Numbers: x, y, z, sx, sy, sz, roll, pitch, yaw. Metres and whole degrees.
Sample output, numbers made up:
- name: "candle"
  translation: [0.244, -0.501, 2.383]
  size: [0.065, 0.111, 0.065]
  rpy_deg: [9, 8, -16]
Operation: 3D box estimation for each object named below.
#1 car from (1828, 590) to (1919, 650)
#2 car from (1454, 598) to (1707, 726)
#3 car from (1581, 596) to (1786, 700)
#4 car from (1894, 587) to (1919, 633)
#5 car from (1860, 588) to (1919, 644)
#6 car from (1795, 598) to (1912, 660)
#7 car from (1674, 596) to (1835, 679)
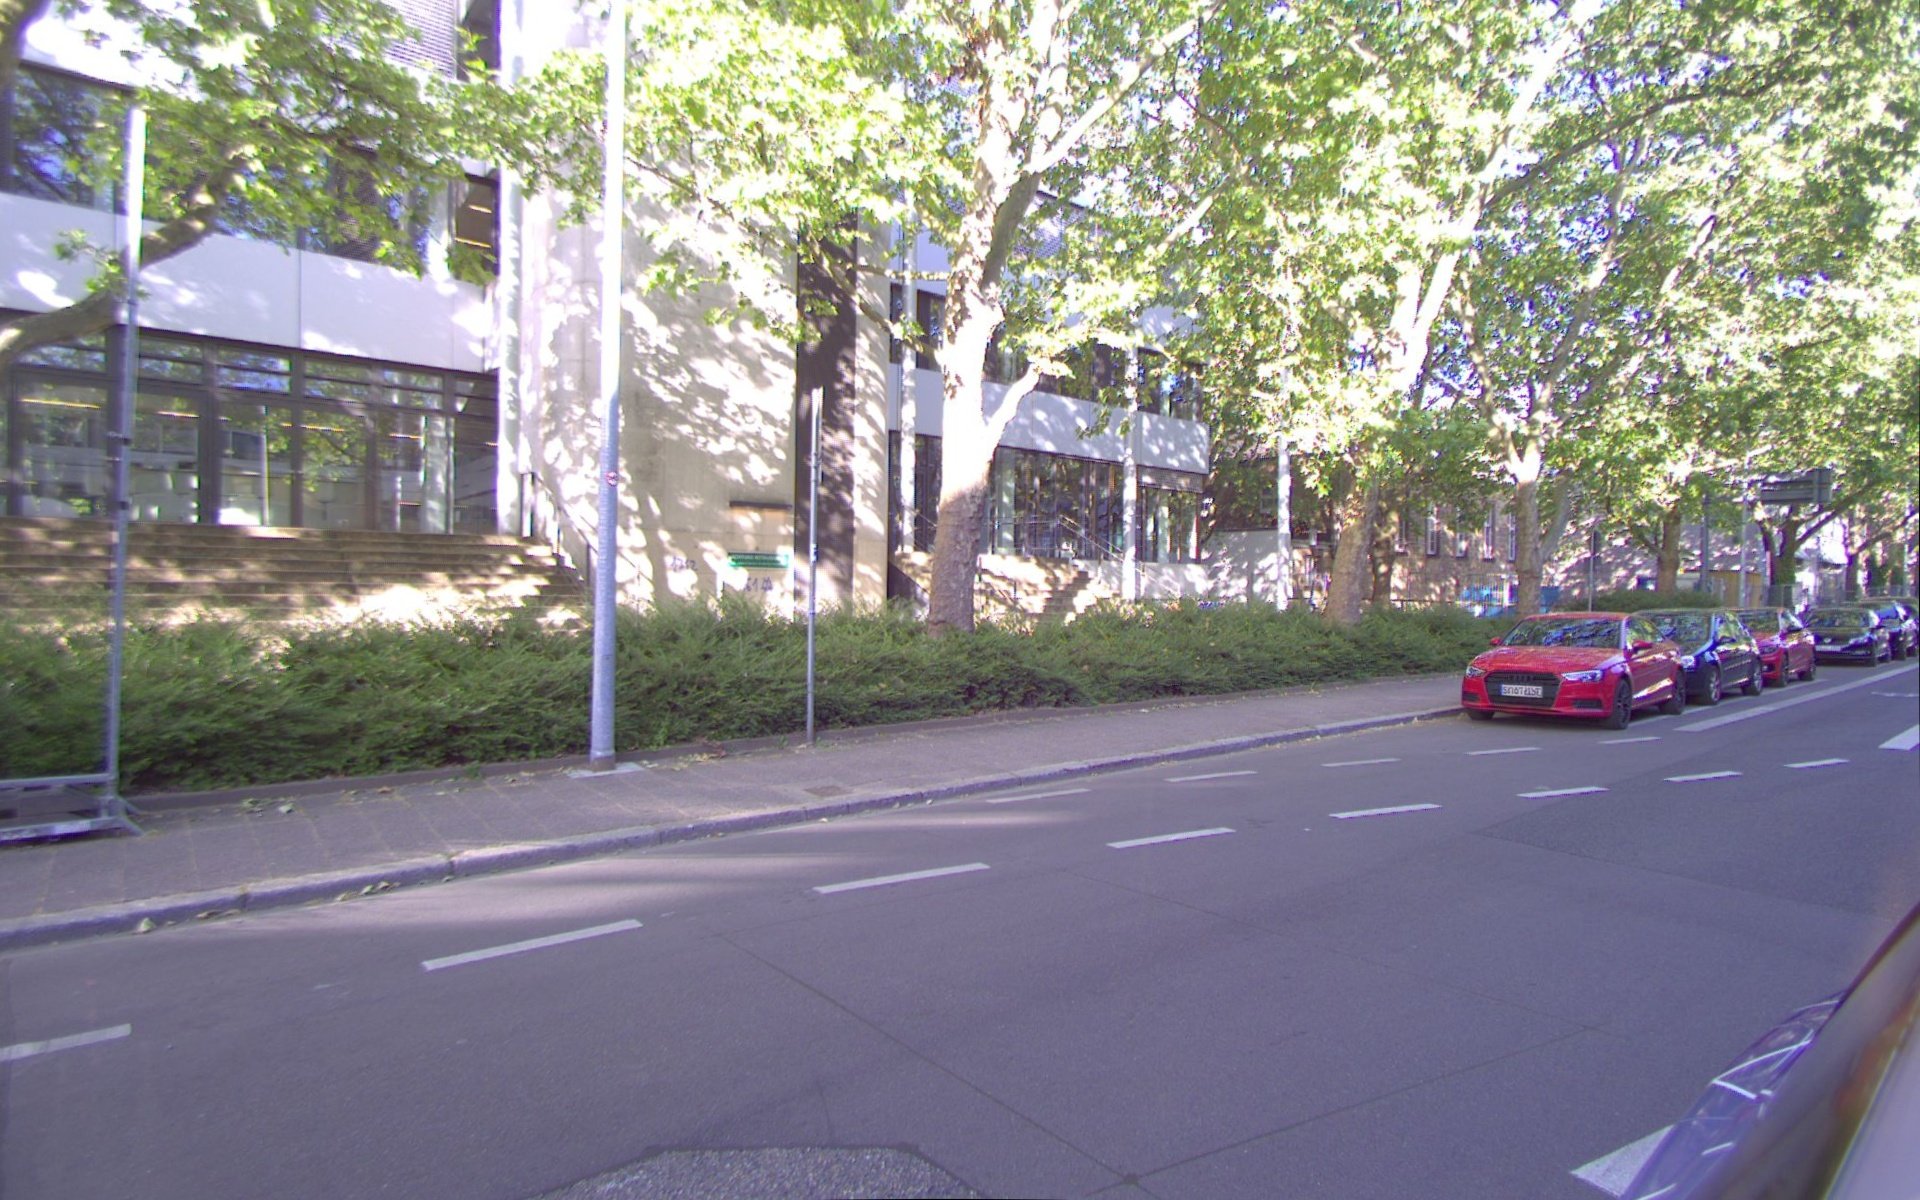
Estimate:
- name: "car"
  translation: [26.640, 0.523, 29.194]
  size: [4.158, 1.601, 1.847]
  rpy_deg: [0, 1, -41]
- name: "car"
  translation: [8.348, 0.700, 13.468]
  size: [4.101, 1.443, 1.773]
  rpy_deg: [0, -1, -42]
- name: "car"
  translation: [11.896, 0.692, 16.562]
  size: [3.929, 1.475, 1.812]
  rpy_deg: [0, 1, -40]
- name: "car"
  translation: [35.733, 0.361, 37.077]
  size: [4.004, 1.638, 1.797]
  rpy_deg: [0, 1, -41]
- name: "car"
  translation: [31.074, 0.480, 33.055]
  size: [4.188, 1.747, 1.997]
  rpy_deg: [-1, 0, -41]
- name: "car"
  translation: [22.976, 0.679, 25.997]
  size: [3.930, 1.456, 1.744]
  rpy_deg: [0, 1, -41]
- name: "car"
  translation: [15.774, 0.669, 20.030]
  size: [3.930, 1.456, 1.789]
  rpy_deg: [0, 1, -41]
